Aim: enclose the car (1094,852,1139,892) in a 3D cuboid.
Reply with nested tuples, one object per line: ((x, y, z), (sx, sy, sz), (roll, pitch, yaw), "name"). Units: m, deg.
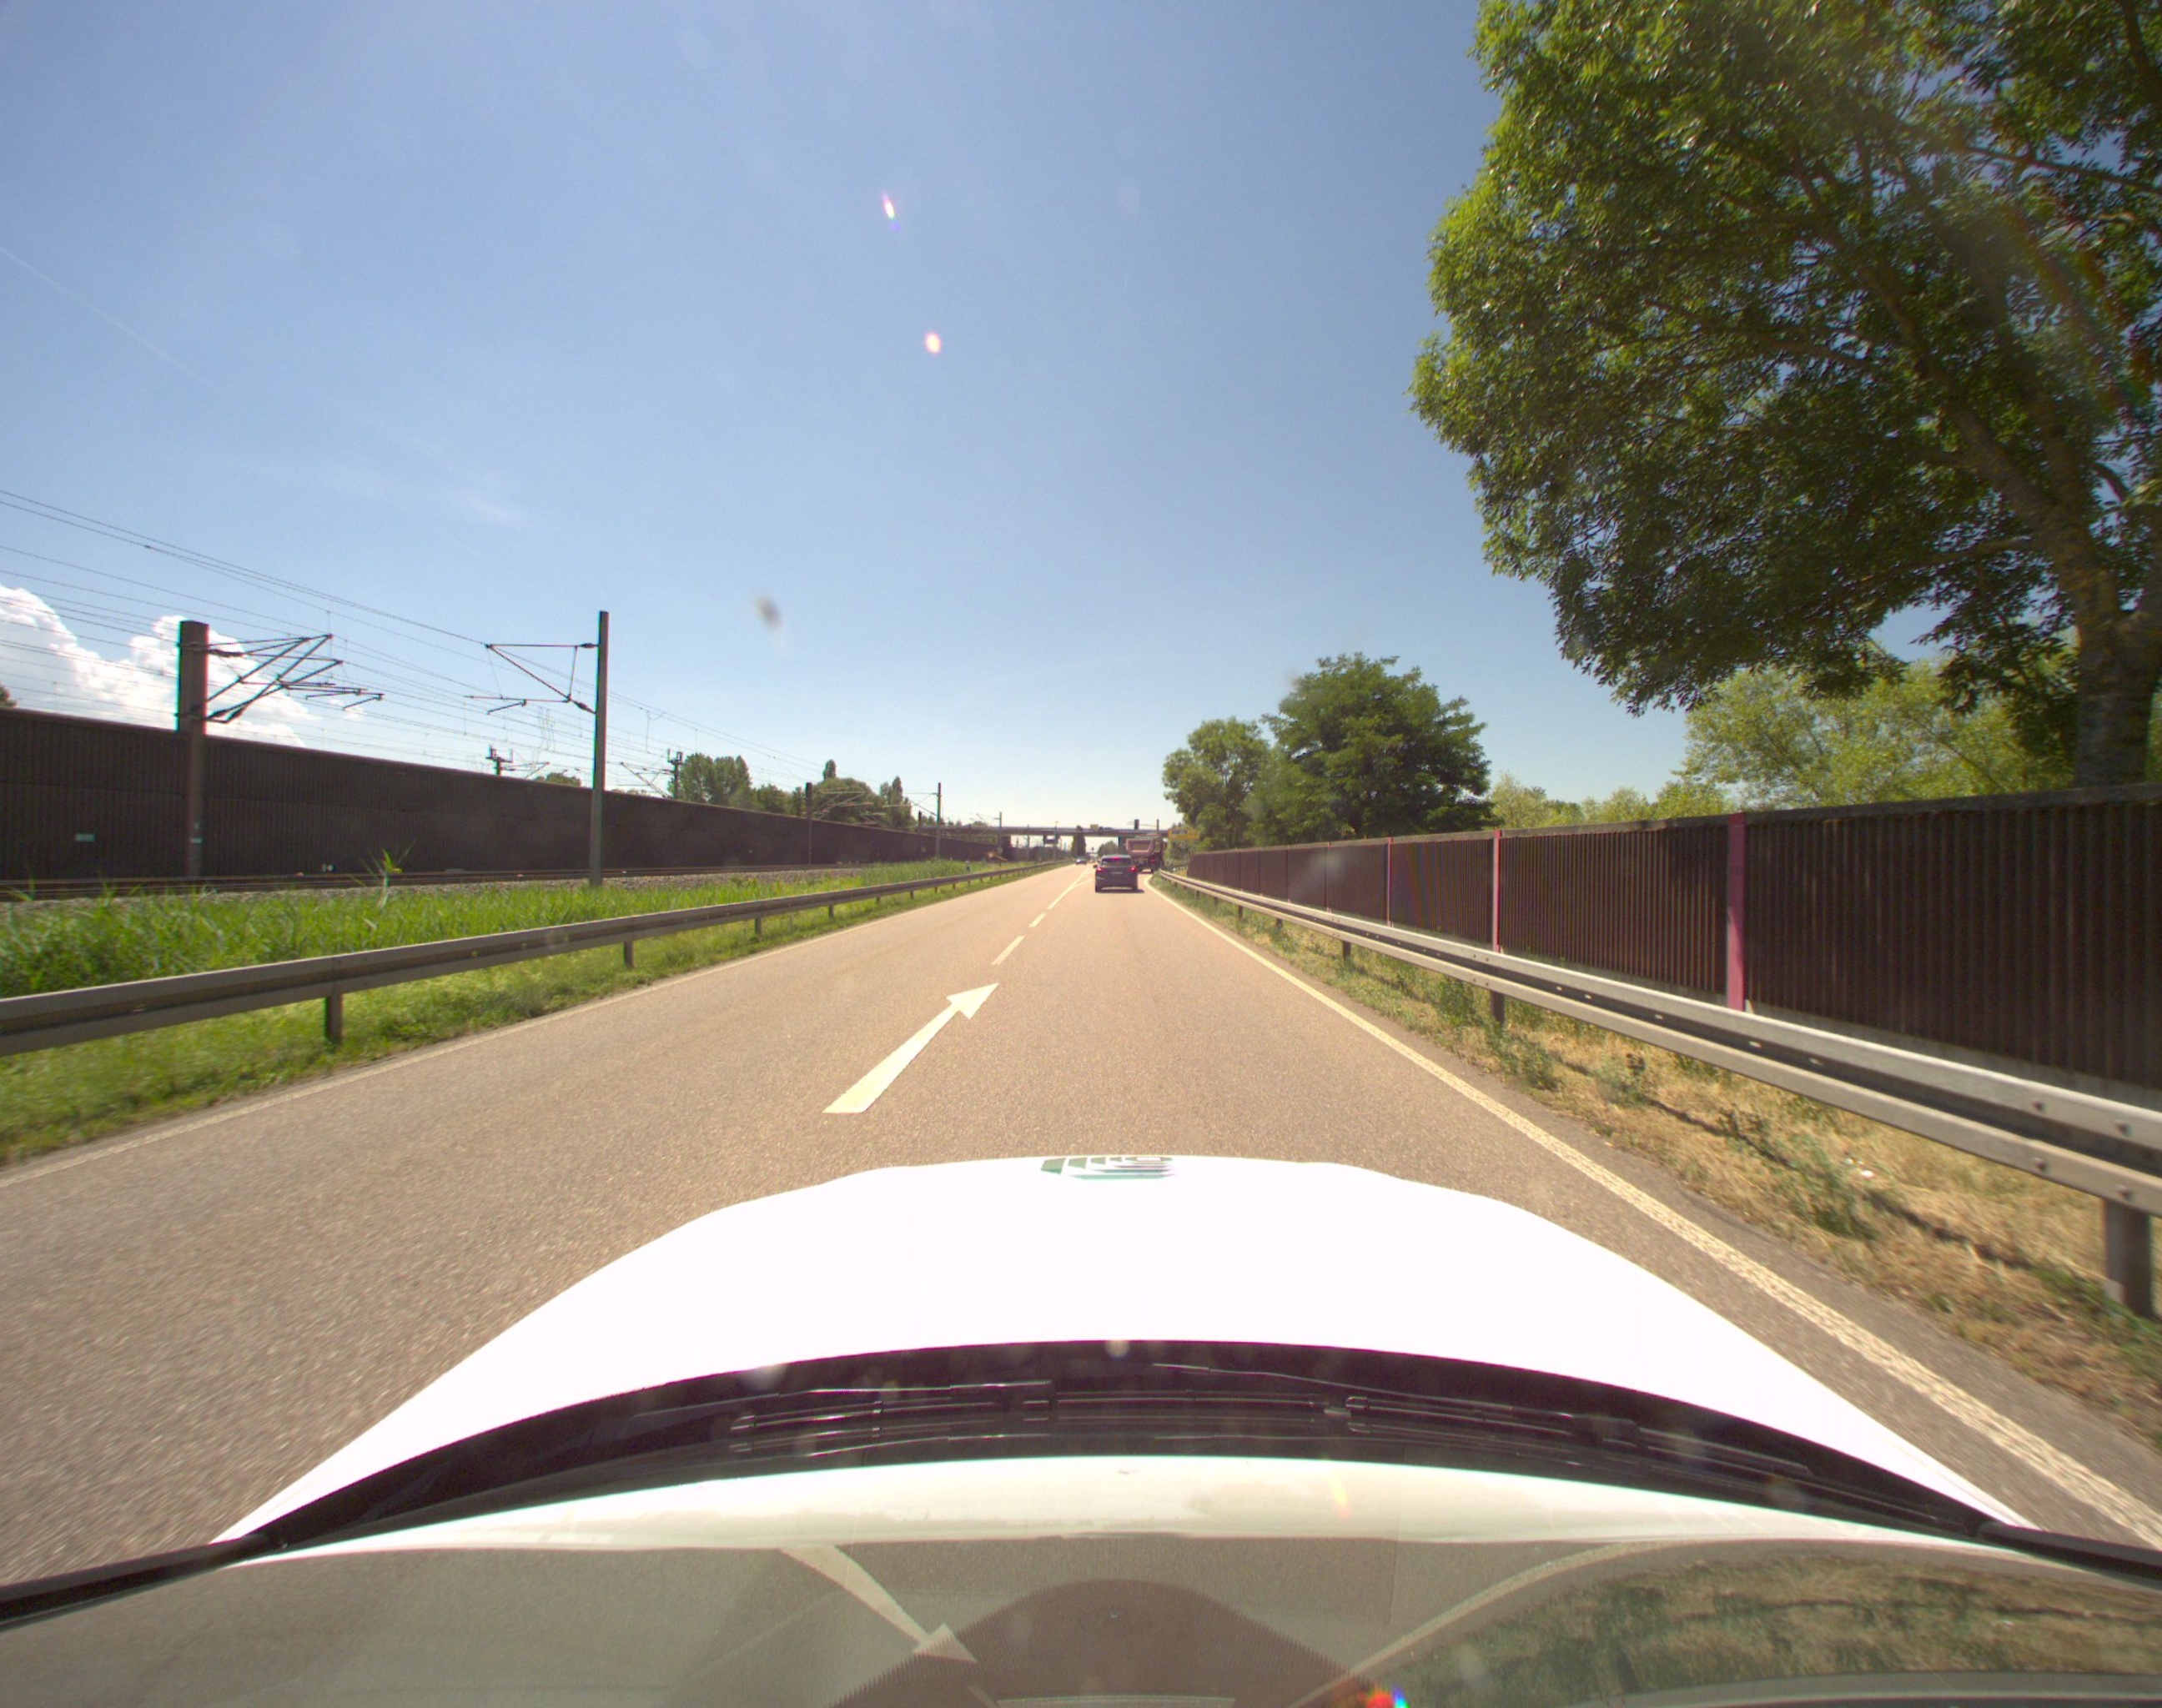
((1.569, 0.755, 35.302), (1.837, 1.623, 4.229), (0, 0, 3), "car")

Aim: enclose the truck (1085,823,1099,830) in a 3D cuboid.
((3.313, -8.030, 240.801), (3.965, 2.014, 2.004), (0, -1, 7), "truck")

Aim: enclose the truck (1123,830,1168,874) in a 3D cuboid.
((6.185, -0.115, 76.527), (2.815, 3.821, 11.921), (0, 0, 11), "truck")

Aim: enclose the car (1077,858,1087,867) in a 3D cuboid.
((0.154, 1.498, 144.273), (1.859, 1.485, 4.886), (0, 0, -1), "car")

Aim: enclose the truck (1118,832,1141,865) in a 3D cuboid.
((5.814, -0.639, 98.262), (2.579, 3.737, 9.582), (0, 0, 3), "truck")

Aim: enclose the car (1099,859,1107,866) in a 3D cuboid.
((5.810, 2.229, 213.578), (1.919, 1.767, 4.603), (1, 0, 4), "car")
